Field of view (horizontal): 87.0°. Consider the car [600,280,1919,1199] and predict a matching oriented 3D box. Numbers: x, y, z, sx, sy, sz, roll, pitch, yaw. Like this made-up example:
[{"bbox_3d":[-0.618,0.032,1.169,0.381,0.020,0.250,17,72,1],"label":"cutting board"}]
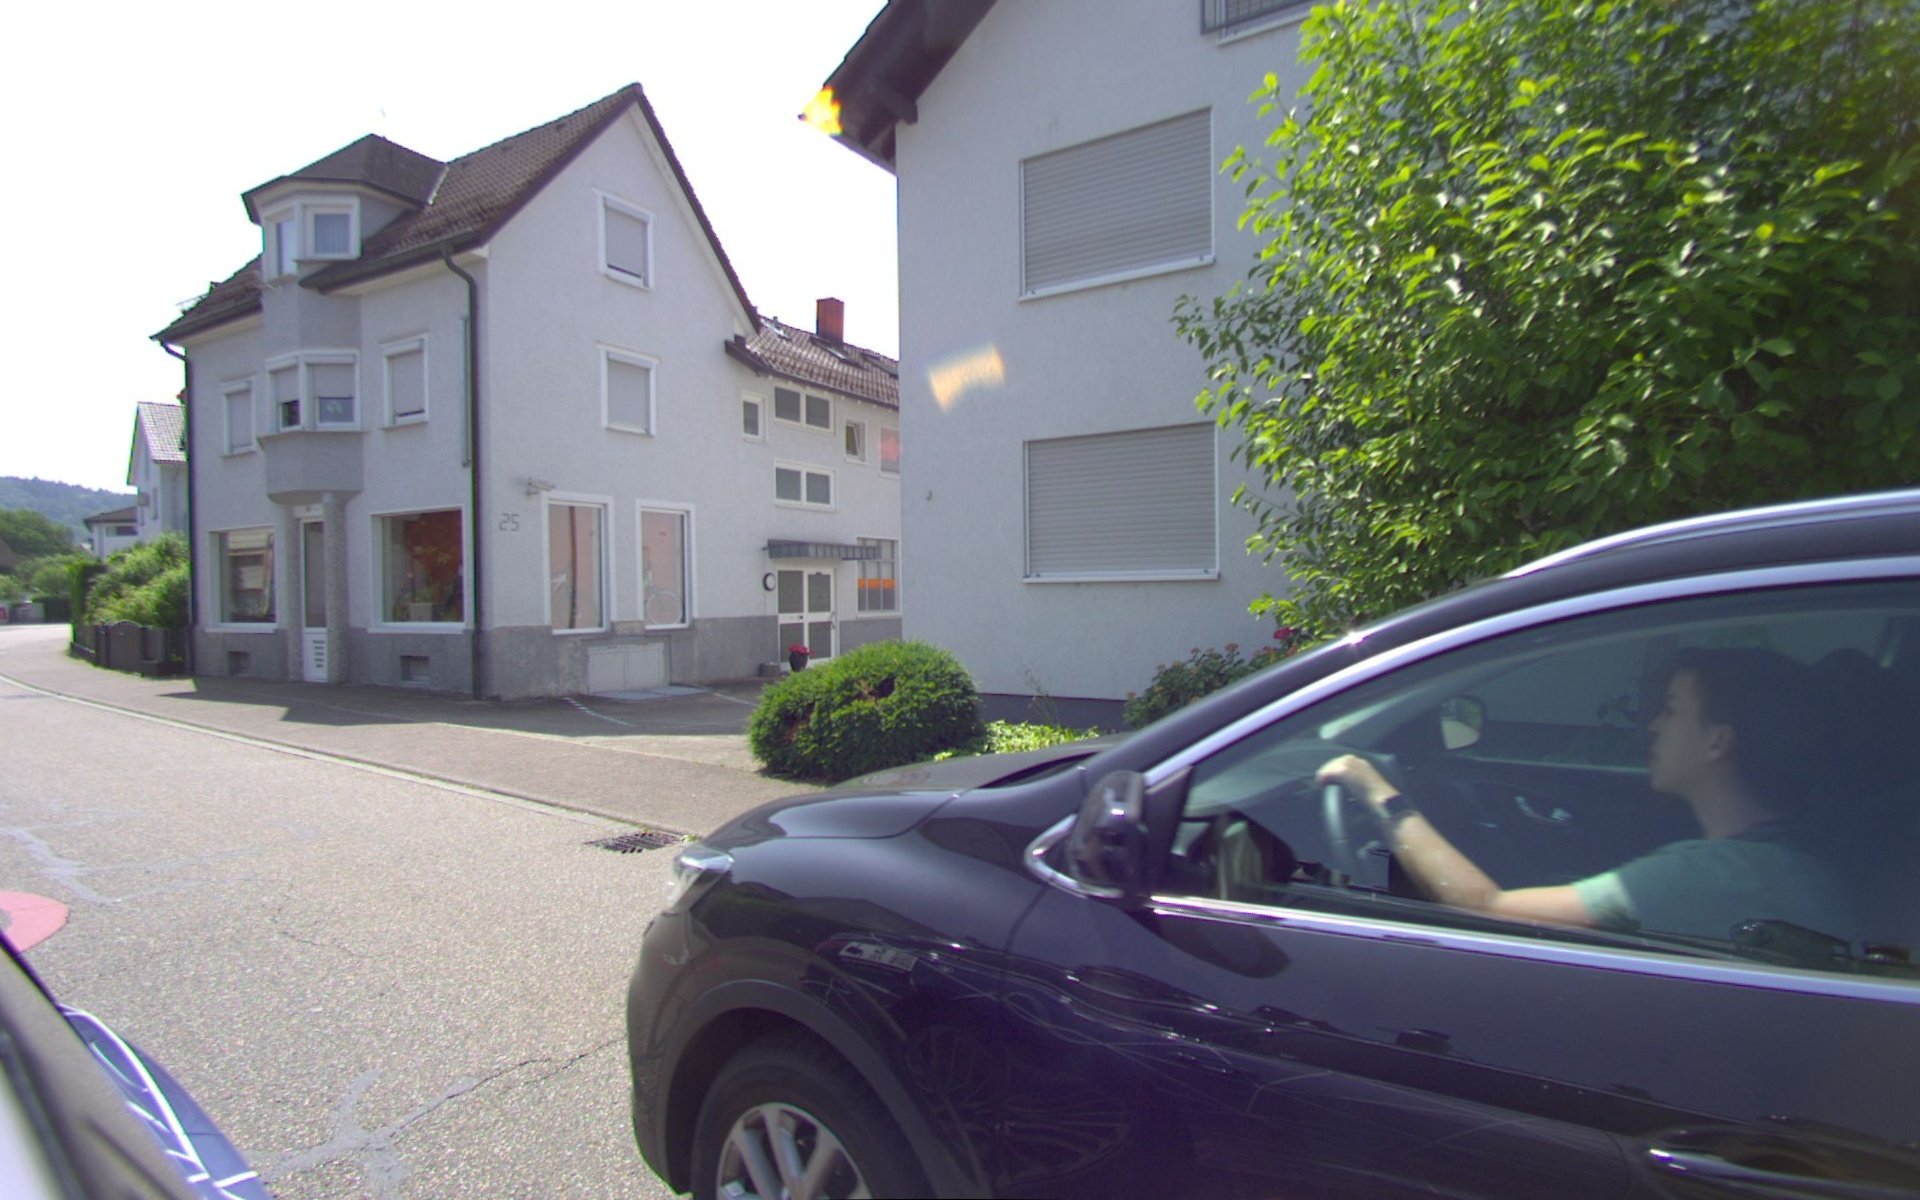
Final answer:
[{"bbox_3d":[1.394,0.562,1.458,4.101,1.636,1.758,0,-1,39],"label":"car"}]
